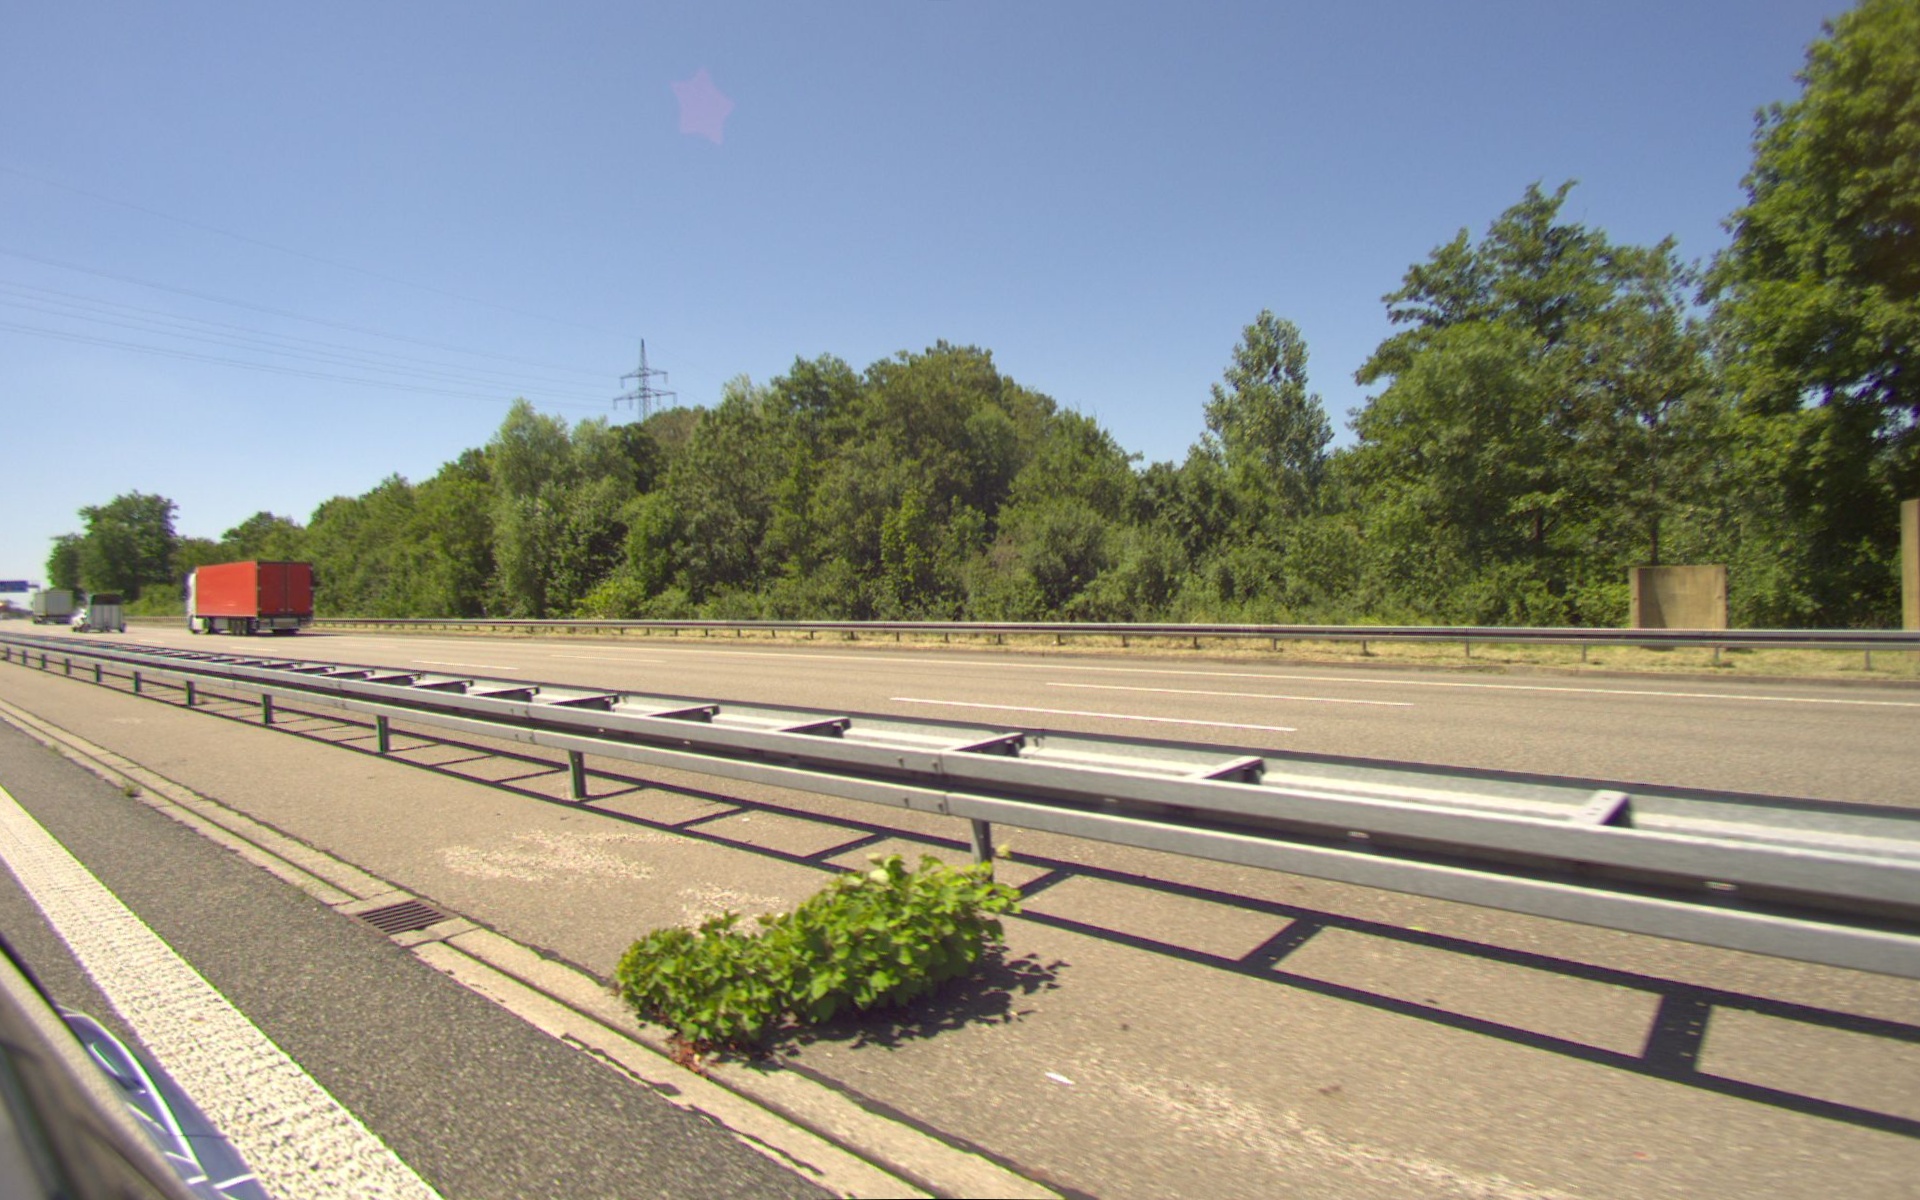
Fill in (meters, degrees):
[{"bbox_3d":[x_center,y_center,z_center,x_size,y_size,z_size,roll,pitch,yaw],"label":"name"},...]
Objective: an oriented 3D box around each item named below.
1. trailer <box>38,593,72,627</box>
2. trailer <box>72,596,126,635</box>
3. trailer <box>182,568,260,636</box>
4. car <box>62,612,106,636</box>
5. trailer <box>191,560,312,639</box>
[{"bbox_3d":[-110.835,1.248,123.869,2.639,3.996,13.674,-1,0,-44],"label":"trailer"},{"bbox_3d":[-59.669,1.065,70.113,4.953,2.633,2.064,-1,0,41],"label":"trailer"},{"bbox_3d":[-46.000,0.143,62.924,6.035,4.072,2.660,-1,0,42],"label":"trailer"},{"bbox_3d":[-63.100,1.684,72.888,4.017,1.644,1.817,-1,0,41],"label":"car"},{"bbox_3d":[-41.195,0.045,58.530,14.047,4.098,2.655,-1,0,42],"label":"trailer"}]
